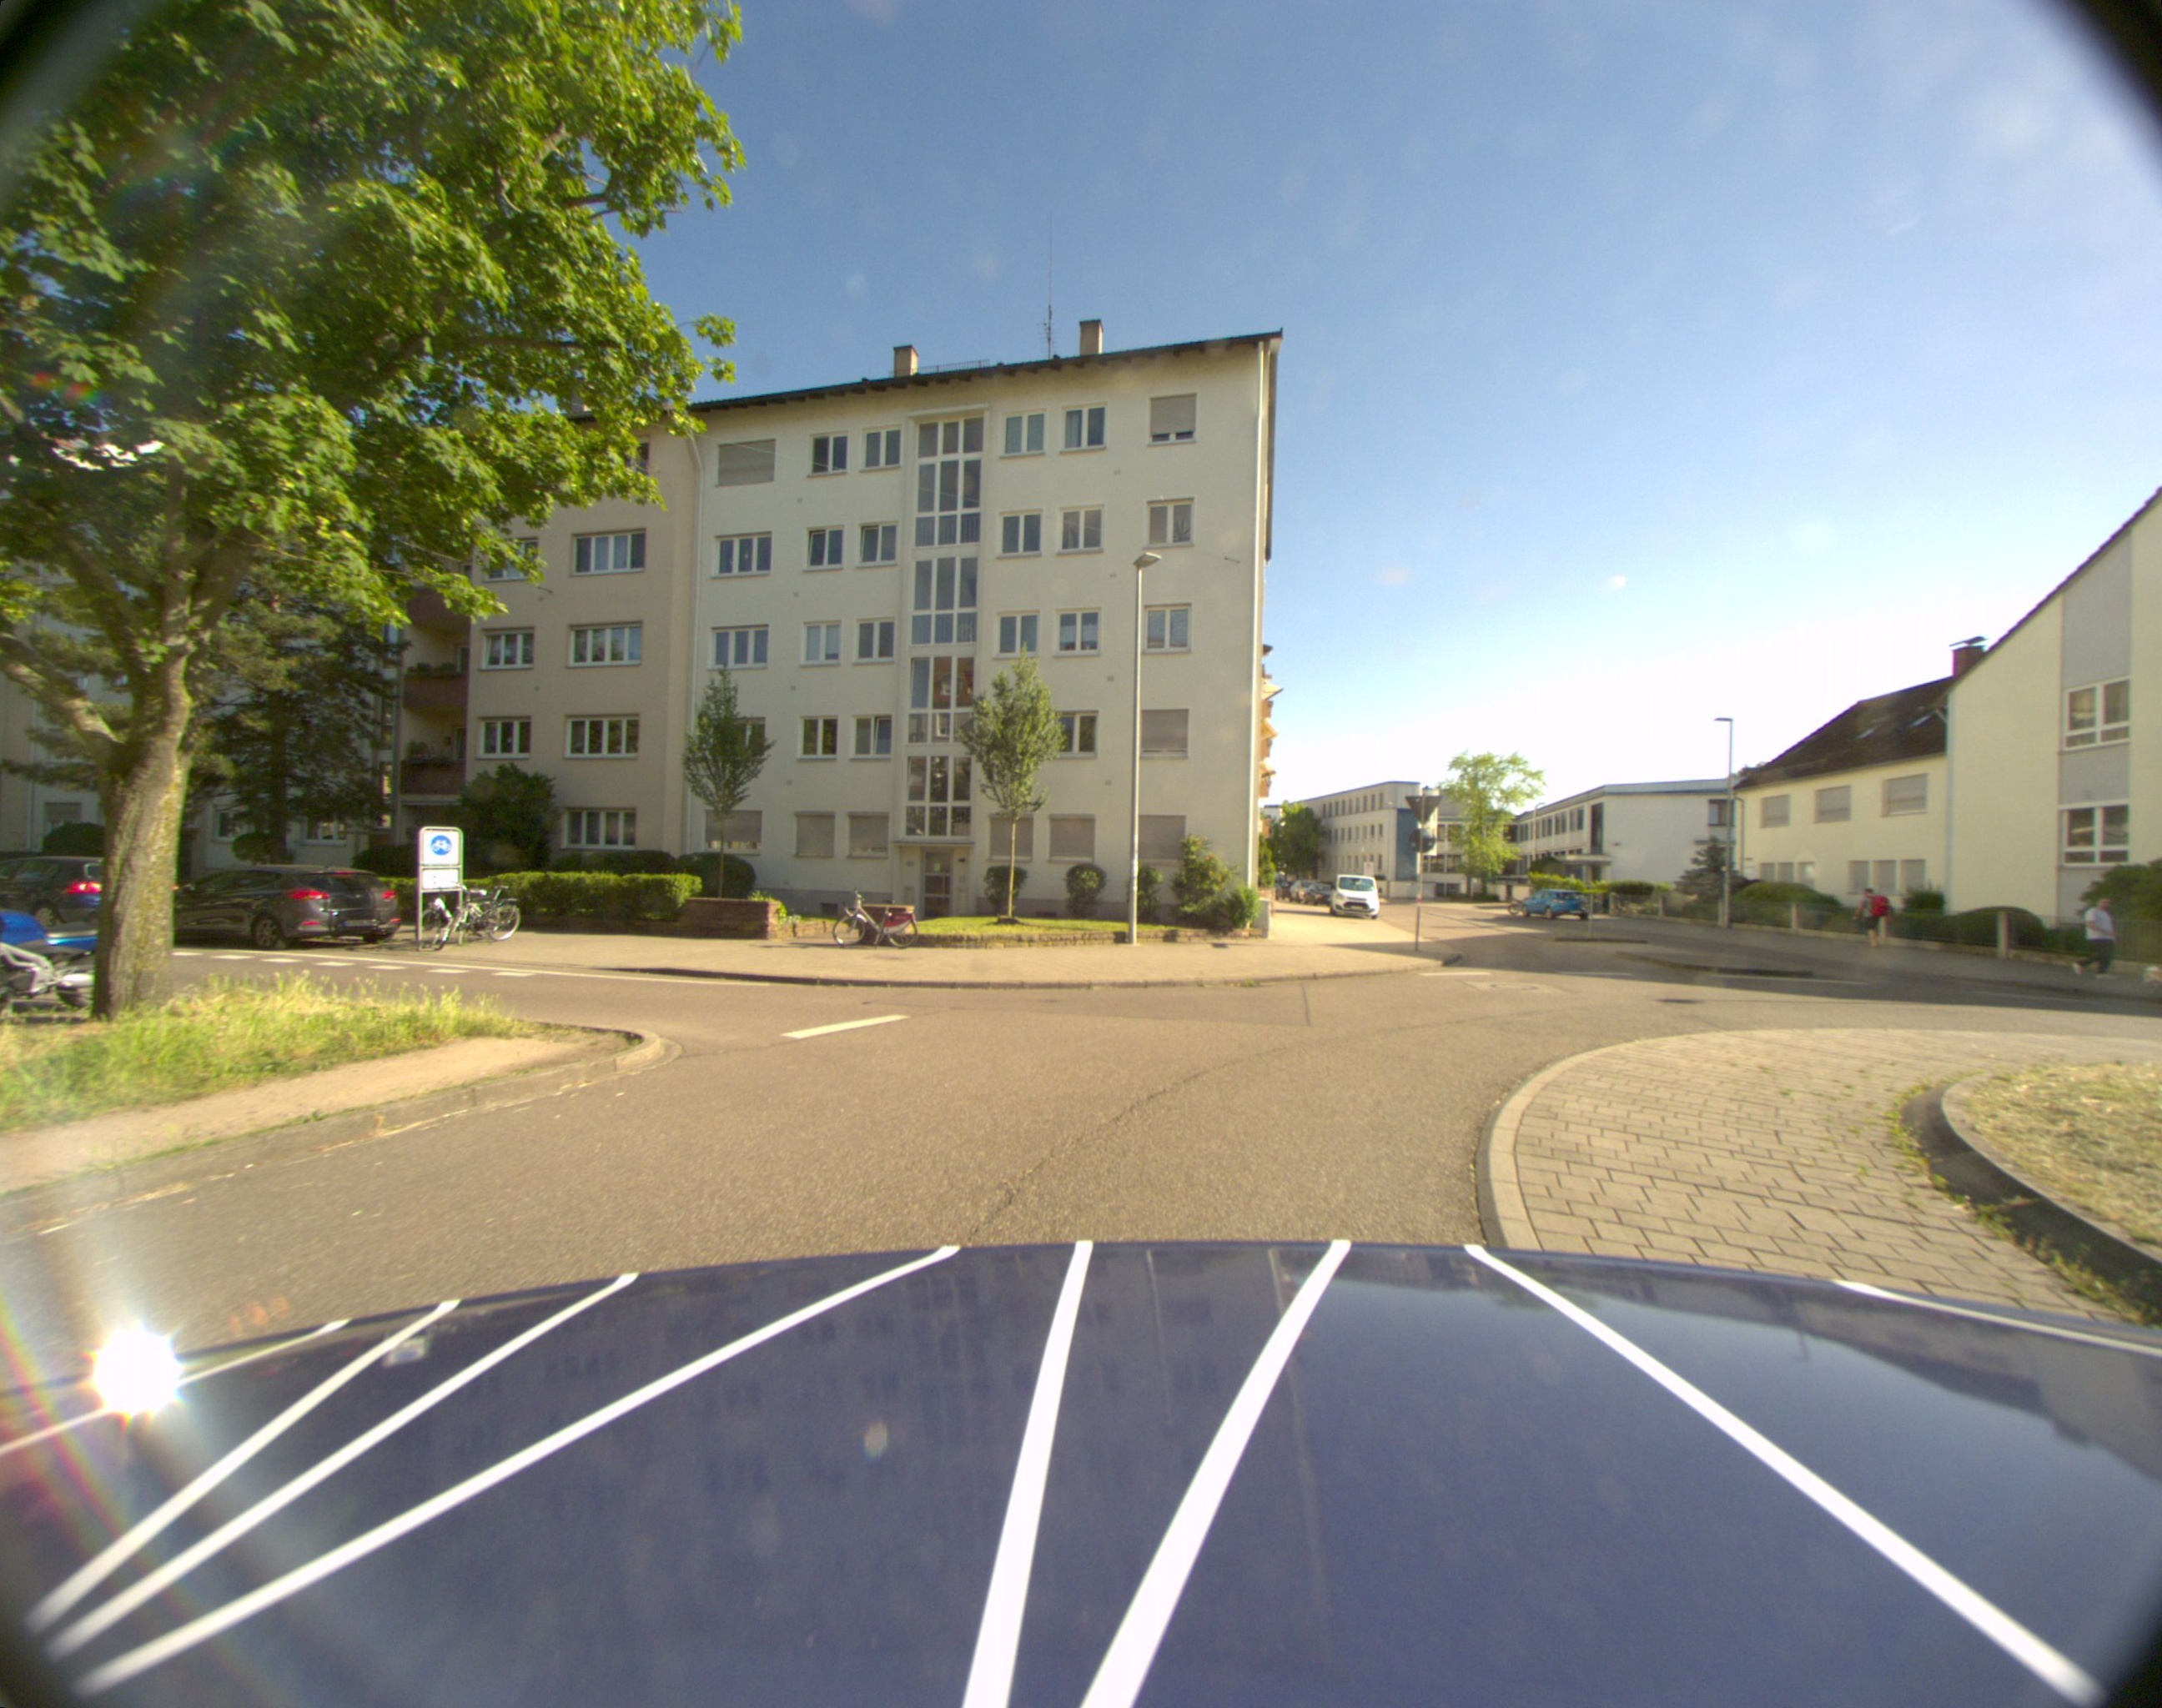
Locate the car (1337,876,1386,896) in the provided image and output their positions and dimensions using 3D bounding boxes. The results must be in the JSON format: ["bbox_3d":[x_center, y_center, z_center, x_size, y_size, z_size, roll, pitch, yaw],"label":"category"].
[{"bbox_3d":[24.822,2.821,67.459,2.139,1.604,4.833,0,-1,-8],"label":"car"}]

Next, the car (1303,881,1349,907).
[{"bbox_3d":[15.977,2.568,49.774,1.757,1.386,4.001,5,-1,3],"label":"car"}]

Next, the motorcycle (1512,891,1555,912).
[{"bbox_3d":[24.644,2.599,41.435,1.958,1.088,0.592,-1,-2,37],"label":"motorcycle"}]

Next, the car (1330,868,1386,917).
[{"bbox_3d":[12.984,1.752,35.819,1.995,2.002,4.804,4,0,16],"label":"car"}]

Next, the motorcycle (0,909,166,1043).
[{"bbox_3d":[-9.486,1.049,6.537,0.813,1.066,1.848,2,-2,13],"label":"motorcycle"}]

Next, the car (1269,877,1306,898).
[{"bbox_3d":[16.632,2.655,61.397,1.757,1.445,4.000,5,-1,0],"label":"car"}]

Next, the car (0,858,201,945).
[{"bbox_3d":[-20.127,0.879,14.974,3.993,1.476,1.787,2,-2,10],"label":"car"}]

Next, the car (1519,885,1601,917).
[{"bbox_3d":[24.134,2.317,38.497,1.883,1.425,4.418,0,-1,8],"label":"car"}]

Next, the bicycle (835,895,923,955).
[{"bbox_3d":[-3.911,1.366,14.733,1.623,1.072,0.384,1,2,7],"label":"bicycle"}]

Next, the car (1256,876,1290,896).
[{"bbox_3d":[16.628,2.735,65.906,1.757,1.445,4.000,5,-1,-1],"label":"car"}]

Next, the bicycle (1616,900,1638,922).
[{"bbox_3d":[27.602,2.876,38.398,0.345,1.009,1.264,2,-1,9],"label":"bicycle"}]

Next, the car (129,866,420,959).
[{"bbox_3d":[-14.645,1.002,13.873,3.992,1.403,1.835,2,-2,13],"label":"car"}]

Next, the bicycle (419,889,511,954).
[{"bbox_3d":[-11.546,1.236,14.295,0.330,1.051,1.451,2,2,11],"label":"bicycle"}]

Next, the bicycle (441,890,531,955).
[{"bbox_3d":[-11.084,1.253,14.199,0.330,1.051,1.451,2,2,11],"label":"bicycle"}]

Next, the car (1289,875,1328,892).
[{"bbox_3d":[23.595,3.050,79.043,2.139,1.604,4.833,0,-1,-6],"label":"car"}]

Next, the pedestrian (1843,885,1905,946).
[{"bbox_3d":[23.110,1.774,22.159,0.818,1.695,0.998,0,-1,12],"label":"pedestrian"}]

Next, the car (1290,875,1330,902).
[{"bbox_3d":[16.311,2.434,54.309,1.757,1.632,4.002,5,-1,3],"label":"car"}]

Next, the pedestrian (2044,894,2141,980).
[{"bbox_3d":[21.146,1.711,15.908,0.692,1.695,0.997,1,-1,-1],"label":"pedestrian"}]
